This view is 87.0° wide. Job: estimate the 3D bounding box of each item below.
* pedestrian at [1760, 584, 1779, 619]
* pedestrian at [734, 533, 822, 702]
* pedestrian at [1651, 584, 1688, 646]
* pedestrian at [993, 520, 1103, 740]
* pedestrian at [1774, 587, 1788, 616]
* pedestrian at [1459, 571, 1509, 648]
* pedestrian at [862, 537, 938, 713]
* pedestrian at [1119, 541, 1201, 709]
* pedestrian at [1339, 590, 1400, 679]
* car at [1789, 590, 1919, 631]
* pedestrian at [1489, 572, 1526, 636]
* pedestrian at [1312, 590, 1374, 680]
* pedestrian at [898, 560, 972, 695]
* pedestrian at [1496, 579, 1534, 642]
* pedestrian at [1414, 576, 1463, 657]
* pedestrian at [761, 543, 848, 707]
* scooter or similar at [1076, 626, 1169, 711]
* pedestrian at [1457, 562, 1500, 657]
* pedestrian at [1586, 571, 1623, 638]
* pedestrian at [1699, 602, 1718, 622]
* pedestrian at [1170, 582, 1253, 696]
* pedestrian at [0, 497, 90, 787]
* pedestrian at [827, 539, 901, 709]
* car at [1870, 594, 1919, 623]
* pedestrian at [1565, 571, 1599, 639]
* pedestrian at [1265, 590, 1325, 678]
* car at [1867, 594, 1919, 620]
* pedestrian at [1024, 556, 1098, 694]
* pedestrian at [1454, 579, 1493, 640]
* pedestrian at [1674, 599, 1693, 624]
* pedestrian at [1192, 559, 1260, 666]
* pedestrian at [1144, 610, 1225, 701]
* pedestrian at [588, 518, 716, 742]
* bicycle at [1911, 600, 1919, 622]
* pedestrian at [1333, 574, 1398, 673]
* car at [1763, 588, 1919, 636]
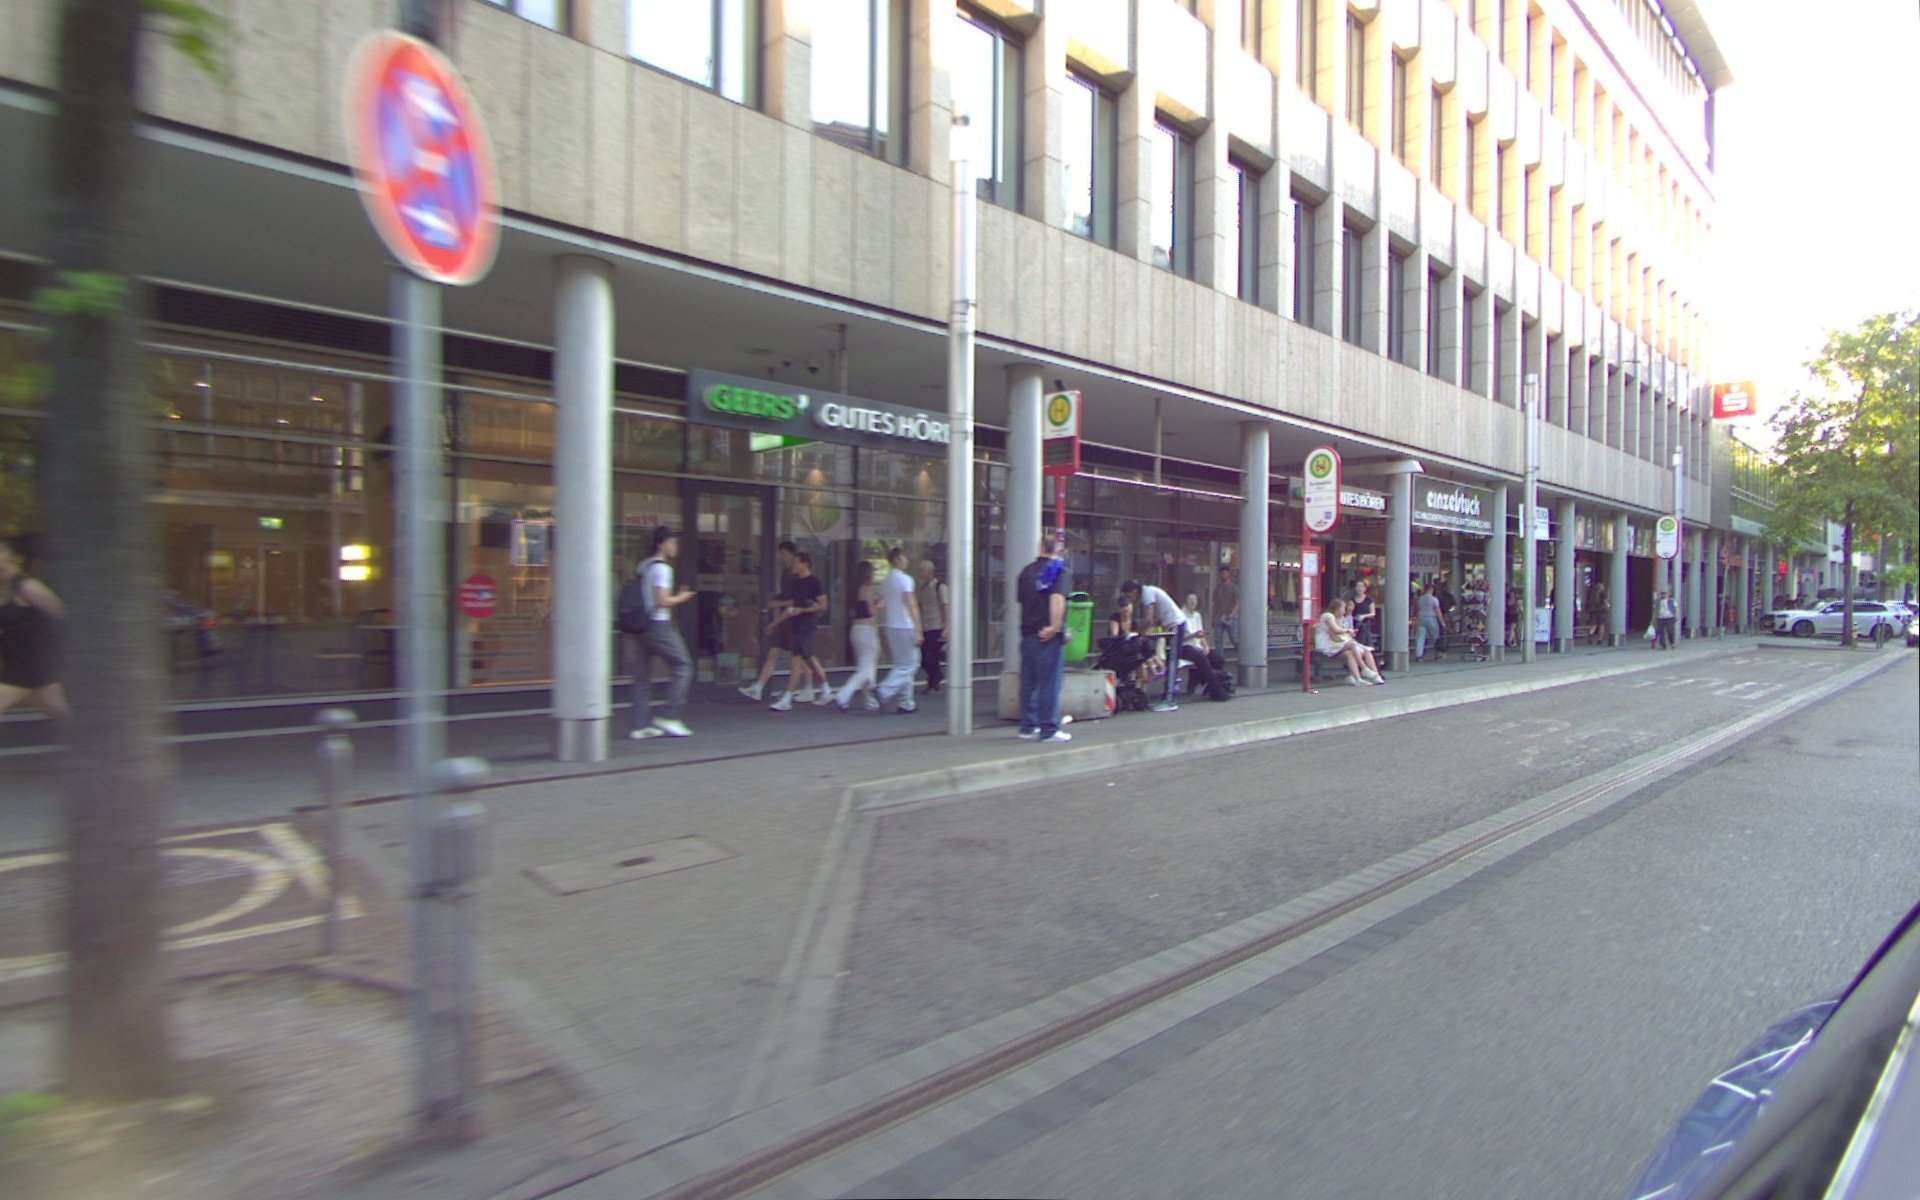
[{"bbox_3d":[40.268,0.071,50.340,0.617,1.712,0.617,0,2,-42],"label":"pedestrian"},{"bbox_3d":[-2.144,0.183,11.926,0.761,1.906,0.687,0,1,-44],"label":"pedestrian"},{"bbox_3d":[18.810,0.386,26.822,0.627,1.608,0.669,0,-1,-43],"label":"pedestrian"},{"bbox_3d":[0.783,0.241,9.035,0.696,1.862,0.669,0,1,-43],"label":"pedestrian"},{"bbox_3d":[48.739,0.061,60.083,0.617,1.712,0.557,0,1,-42],"label":"pedestrian"},{"bbox_3d":[12.872,0.213,24.861,0.844,1.819,0.845,0,1,-43],"label":"pedestrian"},{"bbox_3d":[-0.648,0.249,10.927,0.594,1.829,0.539,0,1,-44],"label":"pedestrian"},{"bbox_3d":[2.310,0.267,11.701,0.656,1.862,0.640,0,1,-42],"label":"pedestrian"},{"bbox_3d":[6.310,0.509,15.615,0.515,1.331,0.719,0,0,-41],"label":"pedestrian"},{"bbox_3d":[40.913,0.454,45.993,4.568,1.607,1.911,3,2,13],"label":"car"},{"bbox_3d":[15.660,0.098,28.938,0.849,1.794,0.674,0,1,-44],"label":"pedestrian"},{"bbox_3d":[5.812,0.514,15.354,0.523,1.331,0.719,0,0,-41],"label":"pedestrian"},{"bbox_3d":[-0.322,0.333,13.111,0.669,1.682,0.649,0,1,-42],"label":"pedestrian"},{"bbox_3d":[15.154,0.268,27.640,0.776,1.664,0.681,0,1,-44],"label":"pedestrian"},{"bbox_3d":[10.221,0.339,21.623,0.709,1.682,0.688,0,1,-42],"label":"pedestrian"},{"bbox_3d":[-1.747,0.262,11.389,0.761,1.774,0.582,0,1,-44],"label":"pedestrian"},{"bbox_3d":[1.840,0.755,11.517,0.673,0.895,0.837,0,-1,-29],"label":"scooter or similar"},{"bbox_3d":[10.941,0.191,21.358,0.644,1.968,0.579,0,1,-43],"label":"pedestrian"},{"bbox_3d":[18.816,0.114,29.539,0.783,1.913,0.708,0,1,-42],"label":"pedestrian"},{"bbox_3d":[34.849,0.575,47.129,0.549,0.892,0.627,0,2,-43],"label":"pedestrian"},{"bbox_3d":[3.227,0.474,12.996,0.651,1.398,0.814,0,0,-41],"label":"pedestrian"},{"bbox_3d":[-6.169,0.247,6.568,0.761,1.794,0.774,0,1,-44],"label":"pedestrian"},{"bbox_3d":[-1.064,0.248,11.254,0.594,1.829,0.539,0,1,-44],"label":"pedestrian"},{"bbox_3d":[62.079,0.514,65.693,3.955,1.809,1.850,-2,-2,24],"label":"car"},{"bbox_3d":[17.742,0.141,28.870,0.672,1.913,0.617,0,1,-41],"label":"pedestrian"},{"bbox_3d":[5.236,0.513,15.829,0.523,1.331,0.719,0,0,-41],"label":"pedestrian"},{"bbox_3d":[58.943,0.410,62.428,3.946,1.530,1.854,-2,-1,18],"label":"car"},{"bbox_3d":[1.278,0.294,12.799,0.639,1.682,0.649,0,1,-42],"label":"pedestrian"},{"bbox_3d":[14.279,0.245,28.134,0.805,1.664,0.711,0,1,-44],"label":"pedestrian"},{"bbox_3d":[31.880,0.504,44.592,0.625,1.048,0.550,2,1,39],"label":"pedestrian"},{"bbox_3d":[4.894,0.205,18.637,0.884,1.913,0.845,0,1,-43],"label":"pedestrian"},{"bbox_3d":[2.759,0.659,12.466,0.535,1.055,0.814,0,0,-41],"label":"pedestrian"},{"bbox_3d":[-2.716,0.238,8.935,0.865,1.862,0.669,0,1,-43],"label":"pedestrian"},{"bbox_3d":[46.600,0.529,48.167,0.717,1.087,1.869,0,0,-11],"label":"bicycle"},{"bbox_3d":[6.724,0.370,16.781,0.723,1.589,0.726,0,1,-41],"label":"pedestrian"},{"bbox_3d":[35.725,0.475,40.982,4.572,1.650,1.908,3,0,16],"label":"car"}]
